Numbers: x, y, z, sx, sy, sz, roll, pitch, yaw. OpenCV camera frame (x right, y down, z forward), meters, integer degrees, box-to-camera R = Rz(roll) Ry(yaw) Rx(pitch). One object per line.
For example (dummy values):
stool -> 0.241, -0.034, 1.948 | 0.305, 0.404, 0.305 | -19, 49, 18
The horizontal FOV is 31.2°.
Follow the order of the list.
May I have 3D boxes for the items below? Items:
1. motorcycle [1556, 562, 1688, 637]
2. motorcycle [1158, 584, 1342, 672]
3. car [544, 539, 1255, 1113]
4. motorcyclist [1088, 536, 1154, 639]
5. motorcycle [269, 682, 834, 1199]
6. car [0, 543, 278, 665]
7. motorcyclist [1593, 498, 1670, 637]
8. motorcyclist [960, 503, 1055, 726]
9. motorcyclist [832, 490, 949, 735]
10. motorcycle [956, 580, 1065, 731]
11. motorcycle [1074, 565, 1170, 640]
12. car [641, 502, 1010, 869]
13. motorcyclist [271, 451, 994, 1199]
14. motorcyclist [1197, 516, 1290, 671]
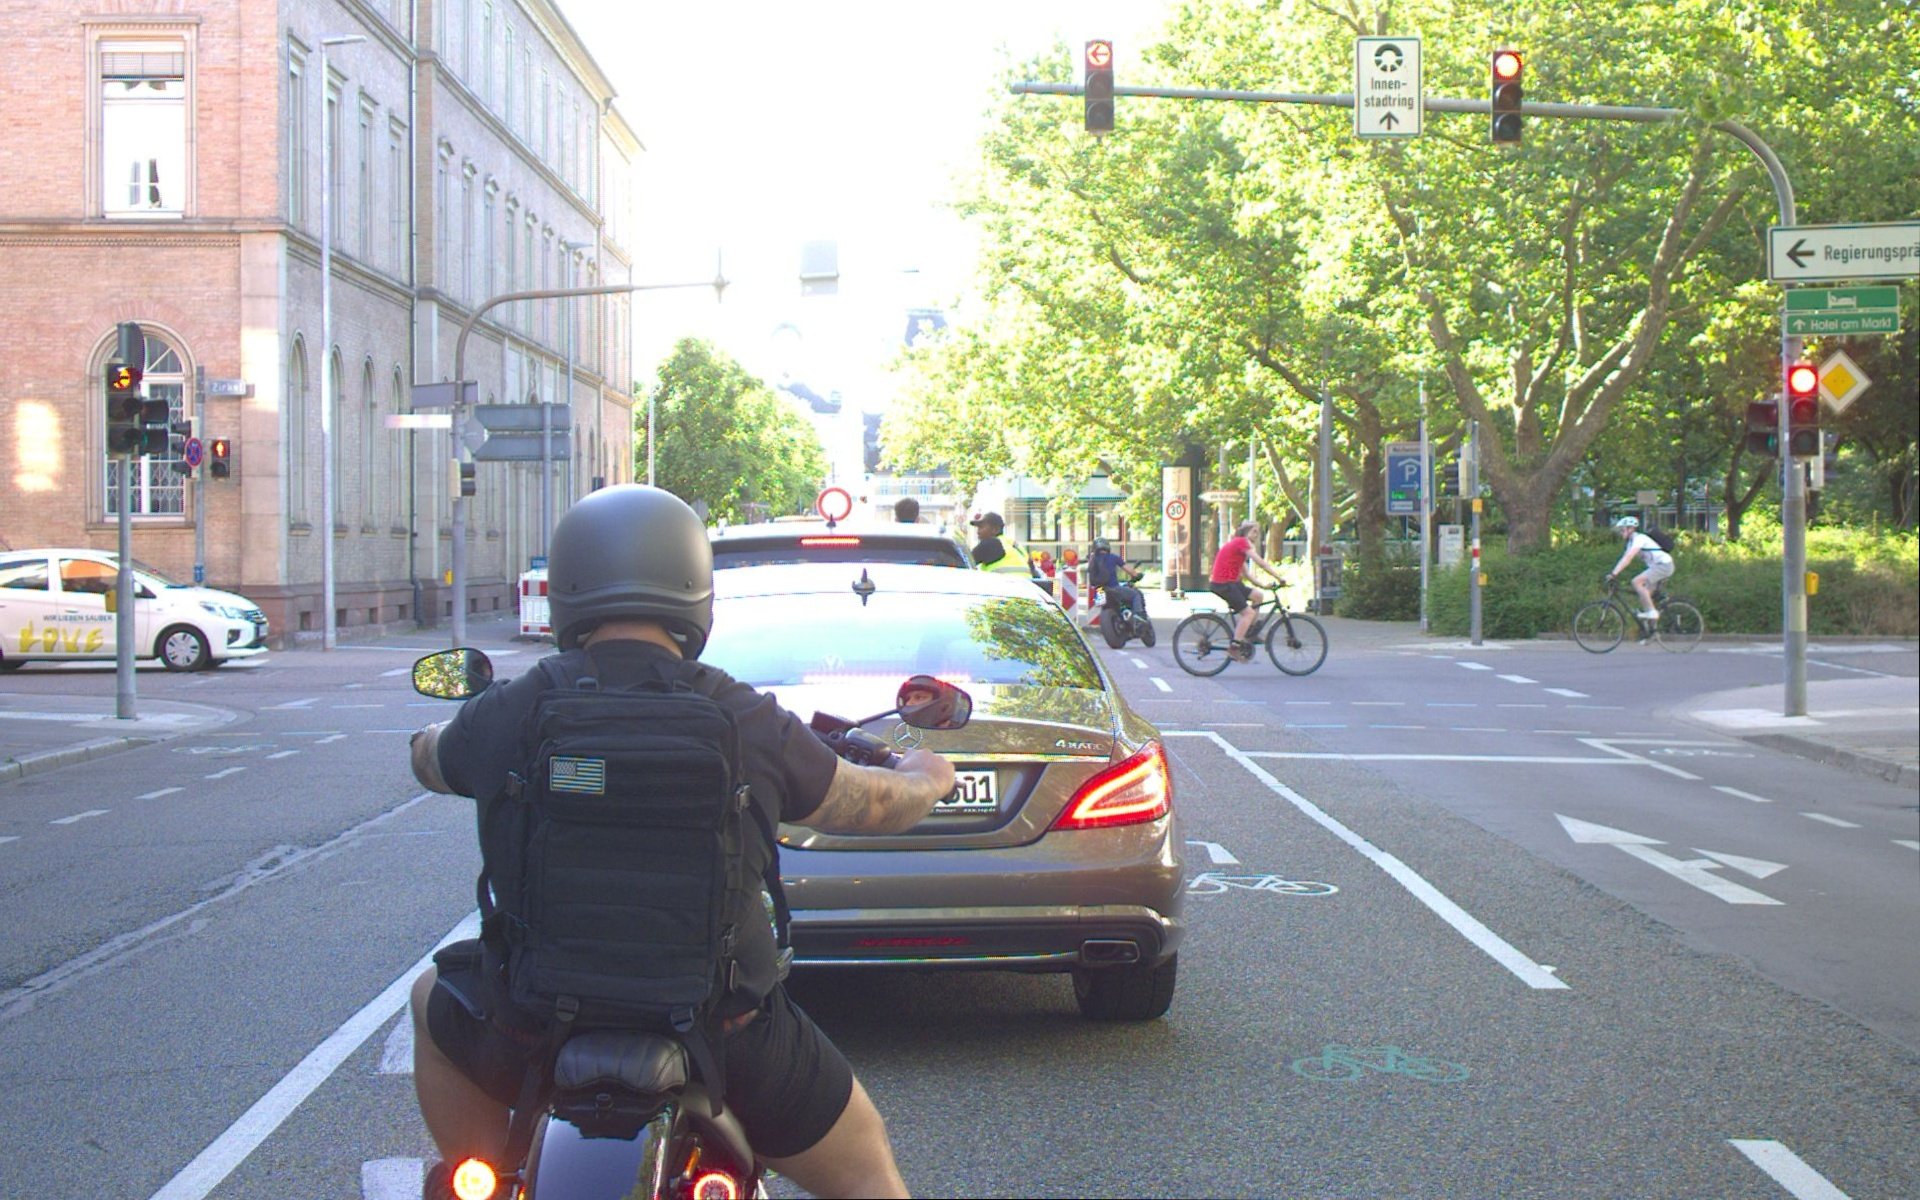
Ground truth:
motorcycle -> 8.961, -0.007, 46.564 | 1.719, 0.998, 0.416 | 0, 1, 4
motorcycle -> 3.254, 0.311, 38.702 | 2.012, 0.958, 0.580 | 1, 0, 0
car -> -0.407, 0.570, 11.138 | 1.824, 1.481, 4.334 | 1, 1, -7
motorcyclist -> 2.426, -0.192, 51.836 | 0.644, 1.532, 0.941 | 1, 0, 27
motorcycle -> -0.562, 0.786, 5.410 | 0.660, 1.236, 2.058 | 1, 1, -1
car -> -10.124, 0.038, 40.960 | 3.744, 1.413, 1.440 | 0, 1, -3
motorcyclist -> 9.082, -0.441, 46.518 | 0.983, 1.870, 0.376 | 0, 0, 4
motorcyclist -> 0.373, 0.111, 27.353 | 0.717, 1.737, 0.751 | 1, 0, -1
motorcyclist -> -0.511, 0.087, 25.597 | 0.831, 1.782, 0.913 | 1, 0, -1
motorcycle -> 0.385, 0.416, 27.346 | 0.797, 1.128, 2.236 | 1, 1, -1
motorcycle -> 2.442, 0.029, 51.676 | 0.627, 1.093, 2.084 | 1, 1, 27
car -> -0.632, 0.371, 17.630 | 1.651, 1.646, 4.000 | 1, 1, -1
motorcyclist -> -0.465, 0.597, 5.338 | 0.990, 1.605, 1.120 | 1, 0, -1
motorcyclist -> 3.191, -0.073, 38.707 | 0.985, 1.716, 0.551 | 1, 0, 0
